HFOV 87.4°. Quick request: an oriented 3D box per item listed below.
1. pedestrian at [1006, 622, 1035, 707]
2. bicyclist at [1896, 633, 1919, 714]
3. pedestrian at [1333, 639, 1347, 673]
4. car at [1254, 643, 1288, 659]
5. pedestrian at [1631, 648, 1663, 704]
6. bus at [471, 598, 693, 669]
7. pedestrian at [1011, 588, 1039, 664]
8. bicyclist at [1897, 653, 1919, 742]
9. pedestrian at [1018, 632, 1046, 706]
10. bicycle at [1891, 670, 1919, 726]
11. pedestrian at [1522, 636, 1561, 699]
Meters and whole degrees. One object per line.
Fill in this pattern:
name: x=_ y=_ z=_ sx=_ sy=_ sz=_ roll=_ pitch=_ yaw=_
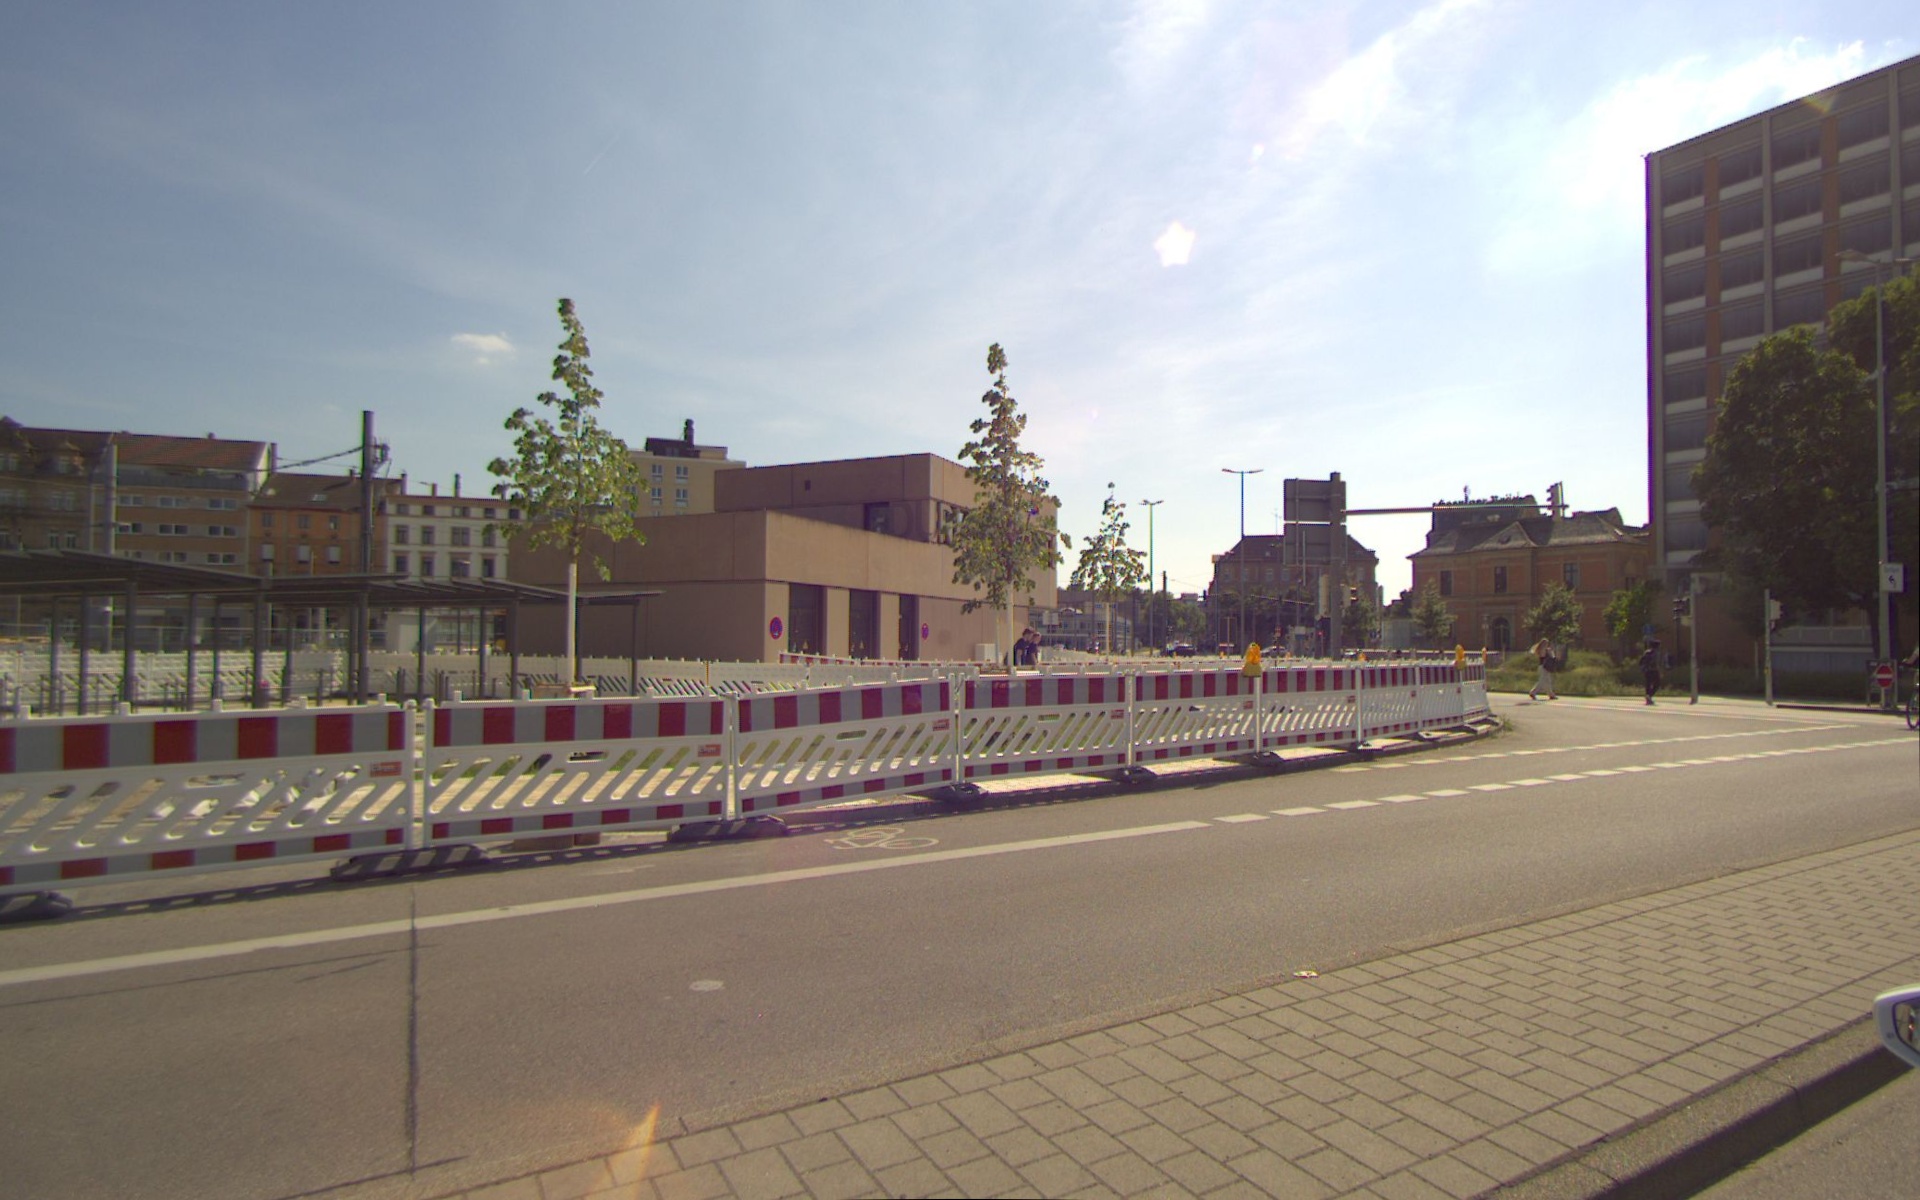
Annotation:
pedestrian: x=1.386 y=1.484 z=23.145 sx=0.595 sy=1.940 sz=0.441 roll=1 pitch=-2 yaw=-9
bicyclist: x=17.652 y=1.334 z=18.311 sx=0.911 sy=1.462 sz=0.615 roll=2 pitch=-5 yaw=-35
pedestrian: x=23.140 y=3.404 z=61.130 sx=0.516 sy=2.040 sz=0.624 roll=1 pitch=-3 yaw=-26
car: x=39.611 y=6.470 z=127.958 sx=3.953 sy=2.040 sz=1.984 roll=2 pitch=-3 yaw=-30
pedestrian: x=18.981 y=2.096 z=27.754 sx=0.624 sy=1.511 sz=0.613 roll=-2 pitch=-3 yaw=44
bus: x=-19.502 y=1.841 z=53.352 sx=2.808 sy=3.324 sz=12.650 roll=-1 pitch=-2 yaw=25
pedestrian: x=1.576 y=0.638 z=24.401 sx=0.559 sy=1.801 sz=0.544 roll=1 pitch=-2 yaw=-9
bicyclist: x=17.659 y=1.763 z=18.282 sx=1.004 sy=1.602 sz=0.615 roll=2 pitch=-5 yaw=-35
pedestrian: x=1.695 y=1.628 z=23.784 sx=0.559 sy=1.731 sz=0.539 roll=1 pitch=-2 yaw=-9
bicycle: x=17.658 y=1.763 z=18.282 sx=1.948 sy=0.973 sz=0.615 roll=2 pitch=-5 yaw=-35
pedestrian: x=16.794 y=1.944 z=29.028 sx=0.728 sy=1.775 sz=1.104 roll=-2 pitch=-5 yaw=44
